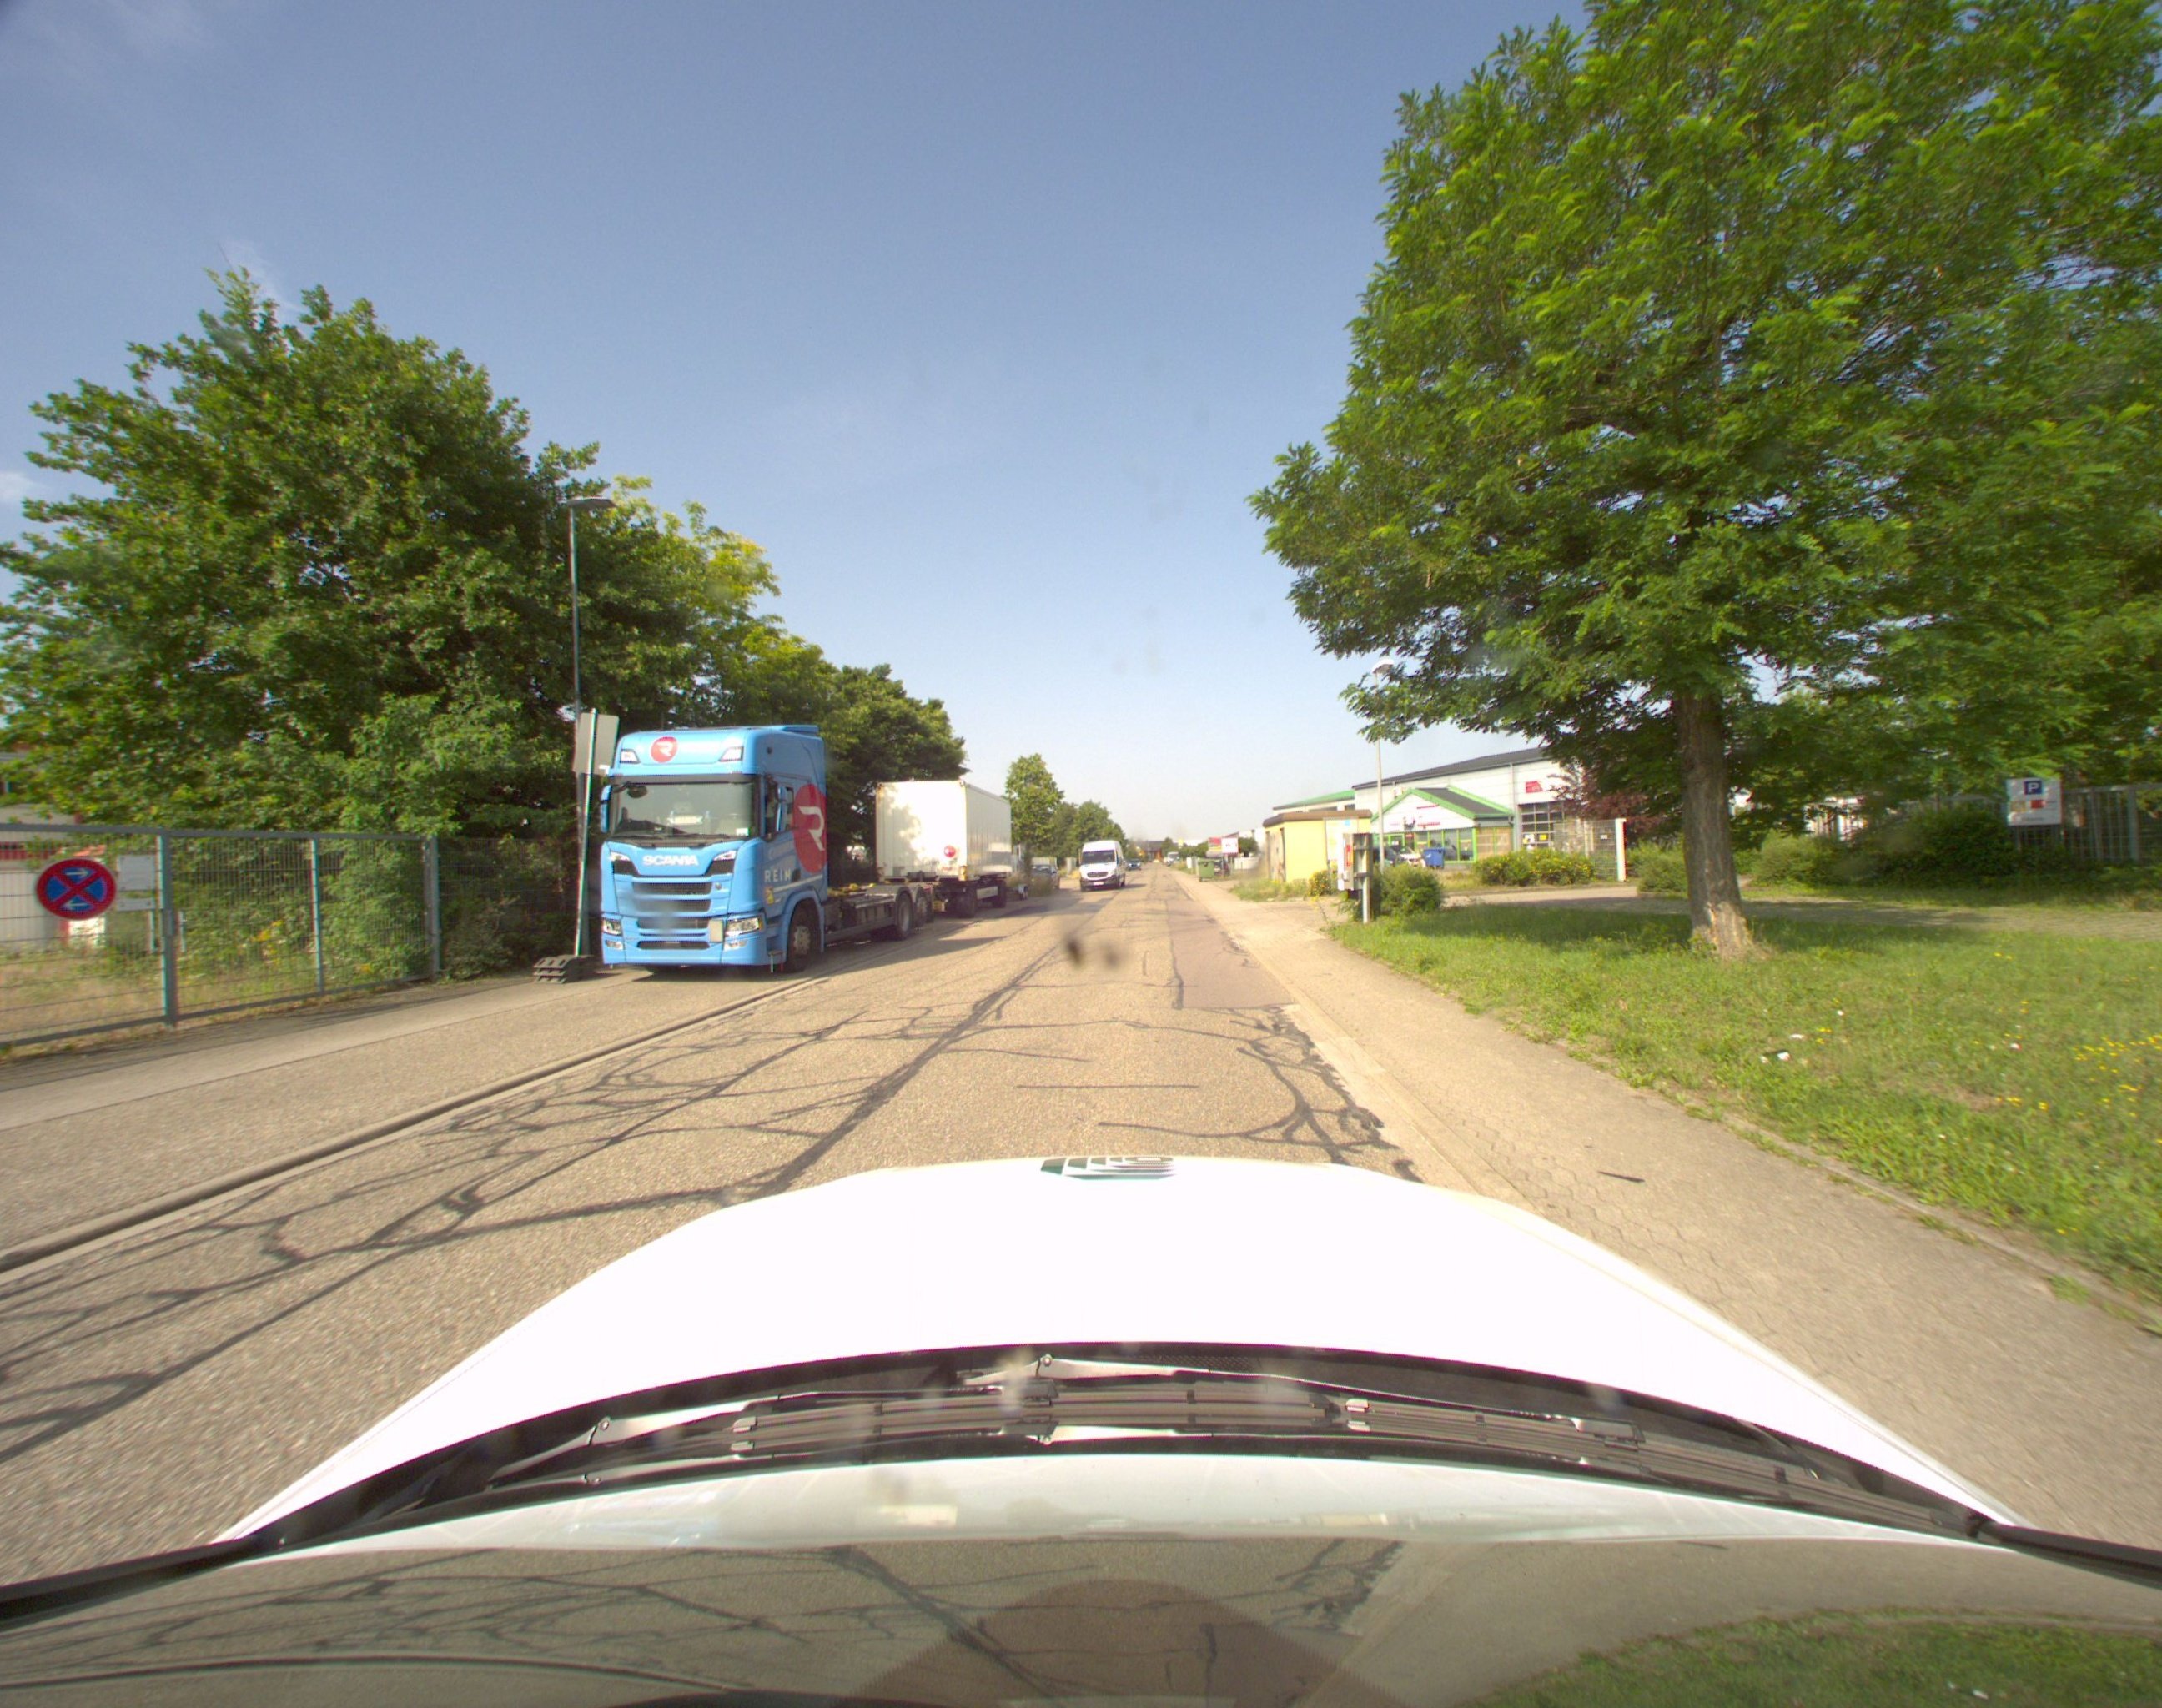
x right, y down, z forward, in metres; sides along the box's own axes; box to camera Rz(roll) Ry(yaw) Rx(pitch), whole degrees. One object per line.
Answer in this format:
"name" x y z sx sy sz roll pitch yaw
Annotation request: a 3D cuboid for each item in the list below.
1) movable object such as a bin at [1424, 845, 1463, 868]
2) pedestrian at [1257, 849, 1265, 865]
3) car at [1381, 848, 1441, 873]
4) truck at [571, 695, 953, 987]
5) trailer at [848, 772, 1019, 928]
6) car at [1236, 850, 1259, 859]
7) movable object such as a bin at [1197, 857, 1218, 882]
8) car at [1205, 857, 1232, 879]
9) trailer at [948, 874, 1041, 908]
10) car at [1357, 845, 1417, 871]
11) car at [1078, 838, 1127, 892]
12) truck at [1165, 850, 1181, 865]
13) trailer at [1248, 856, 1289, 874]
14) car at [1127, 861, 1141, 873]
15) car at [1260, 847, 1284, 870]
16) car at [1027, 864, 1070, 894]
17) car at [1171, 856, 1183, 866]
"movable object such as a bin" 21.809 0.157 49.030 0.999 1.345 1.997 -3 0 -17
"pedestrian" 18.082 0.318 81.888 0.699 1.640 0.750 -3 -1 6
"car" 19.327 0.409 47.825 1.583 1.345 3.170 -3 0 -17
"truck" -5.082 -0.129 15.783 2.699 3.884 9.651 -1 0 6
"trailer" -4.107 -0.075 25.440 2.687 3.884 9.779 -1 0 5
"car" 31.148 0.039 151.870 4.557 1.589 1.668 -2 0 -39
"movable object such as a bin" 7.642 0.933 49.339 1.075 1.353 1.508 -5 -1 6
"car" 9.334 0.904 55.015 1.663 1.368 4.405 -3 -1 10
"trailer" -3.374 1.450 33.407 2.637 0.985 6.251 -3 0 5
"car" 17.447 0.245 46.521 1.583 1.345 3.170 -3 0 -17
"car" 1.235 0.550 43.571 1.984 2.547 7.000 -3 0 6
"truck" 17.660 0.695 156.862 2.350 2.681 6.513 -2 0 2
"trailer" 13.444 0.793 58.428 1.495 1.248 2.956 -1 -1 -21
"car" 7.760 1.913 118.425 1.803 1.627 4.254 -3 -1 5
"car" 23.447 0.533 100.306 1.965 2.705 5.888 -3 -1 5
"car" -1.725 1.319 44.828 1.678 1.470 4.101 -3 -1 7
"car" 15.703 1.083 133.390 1.785 1.517 4.430 -2 0 5
